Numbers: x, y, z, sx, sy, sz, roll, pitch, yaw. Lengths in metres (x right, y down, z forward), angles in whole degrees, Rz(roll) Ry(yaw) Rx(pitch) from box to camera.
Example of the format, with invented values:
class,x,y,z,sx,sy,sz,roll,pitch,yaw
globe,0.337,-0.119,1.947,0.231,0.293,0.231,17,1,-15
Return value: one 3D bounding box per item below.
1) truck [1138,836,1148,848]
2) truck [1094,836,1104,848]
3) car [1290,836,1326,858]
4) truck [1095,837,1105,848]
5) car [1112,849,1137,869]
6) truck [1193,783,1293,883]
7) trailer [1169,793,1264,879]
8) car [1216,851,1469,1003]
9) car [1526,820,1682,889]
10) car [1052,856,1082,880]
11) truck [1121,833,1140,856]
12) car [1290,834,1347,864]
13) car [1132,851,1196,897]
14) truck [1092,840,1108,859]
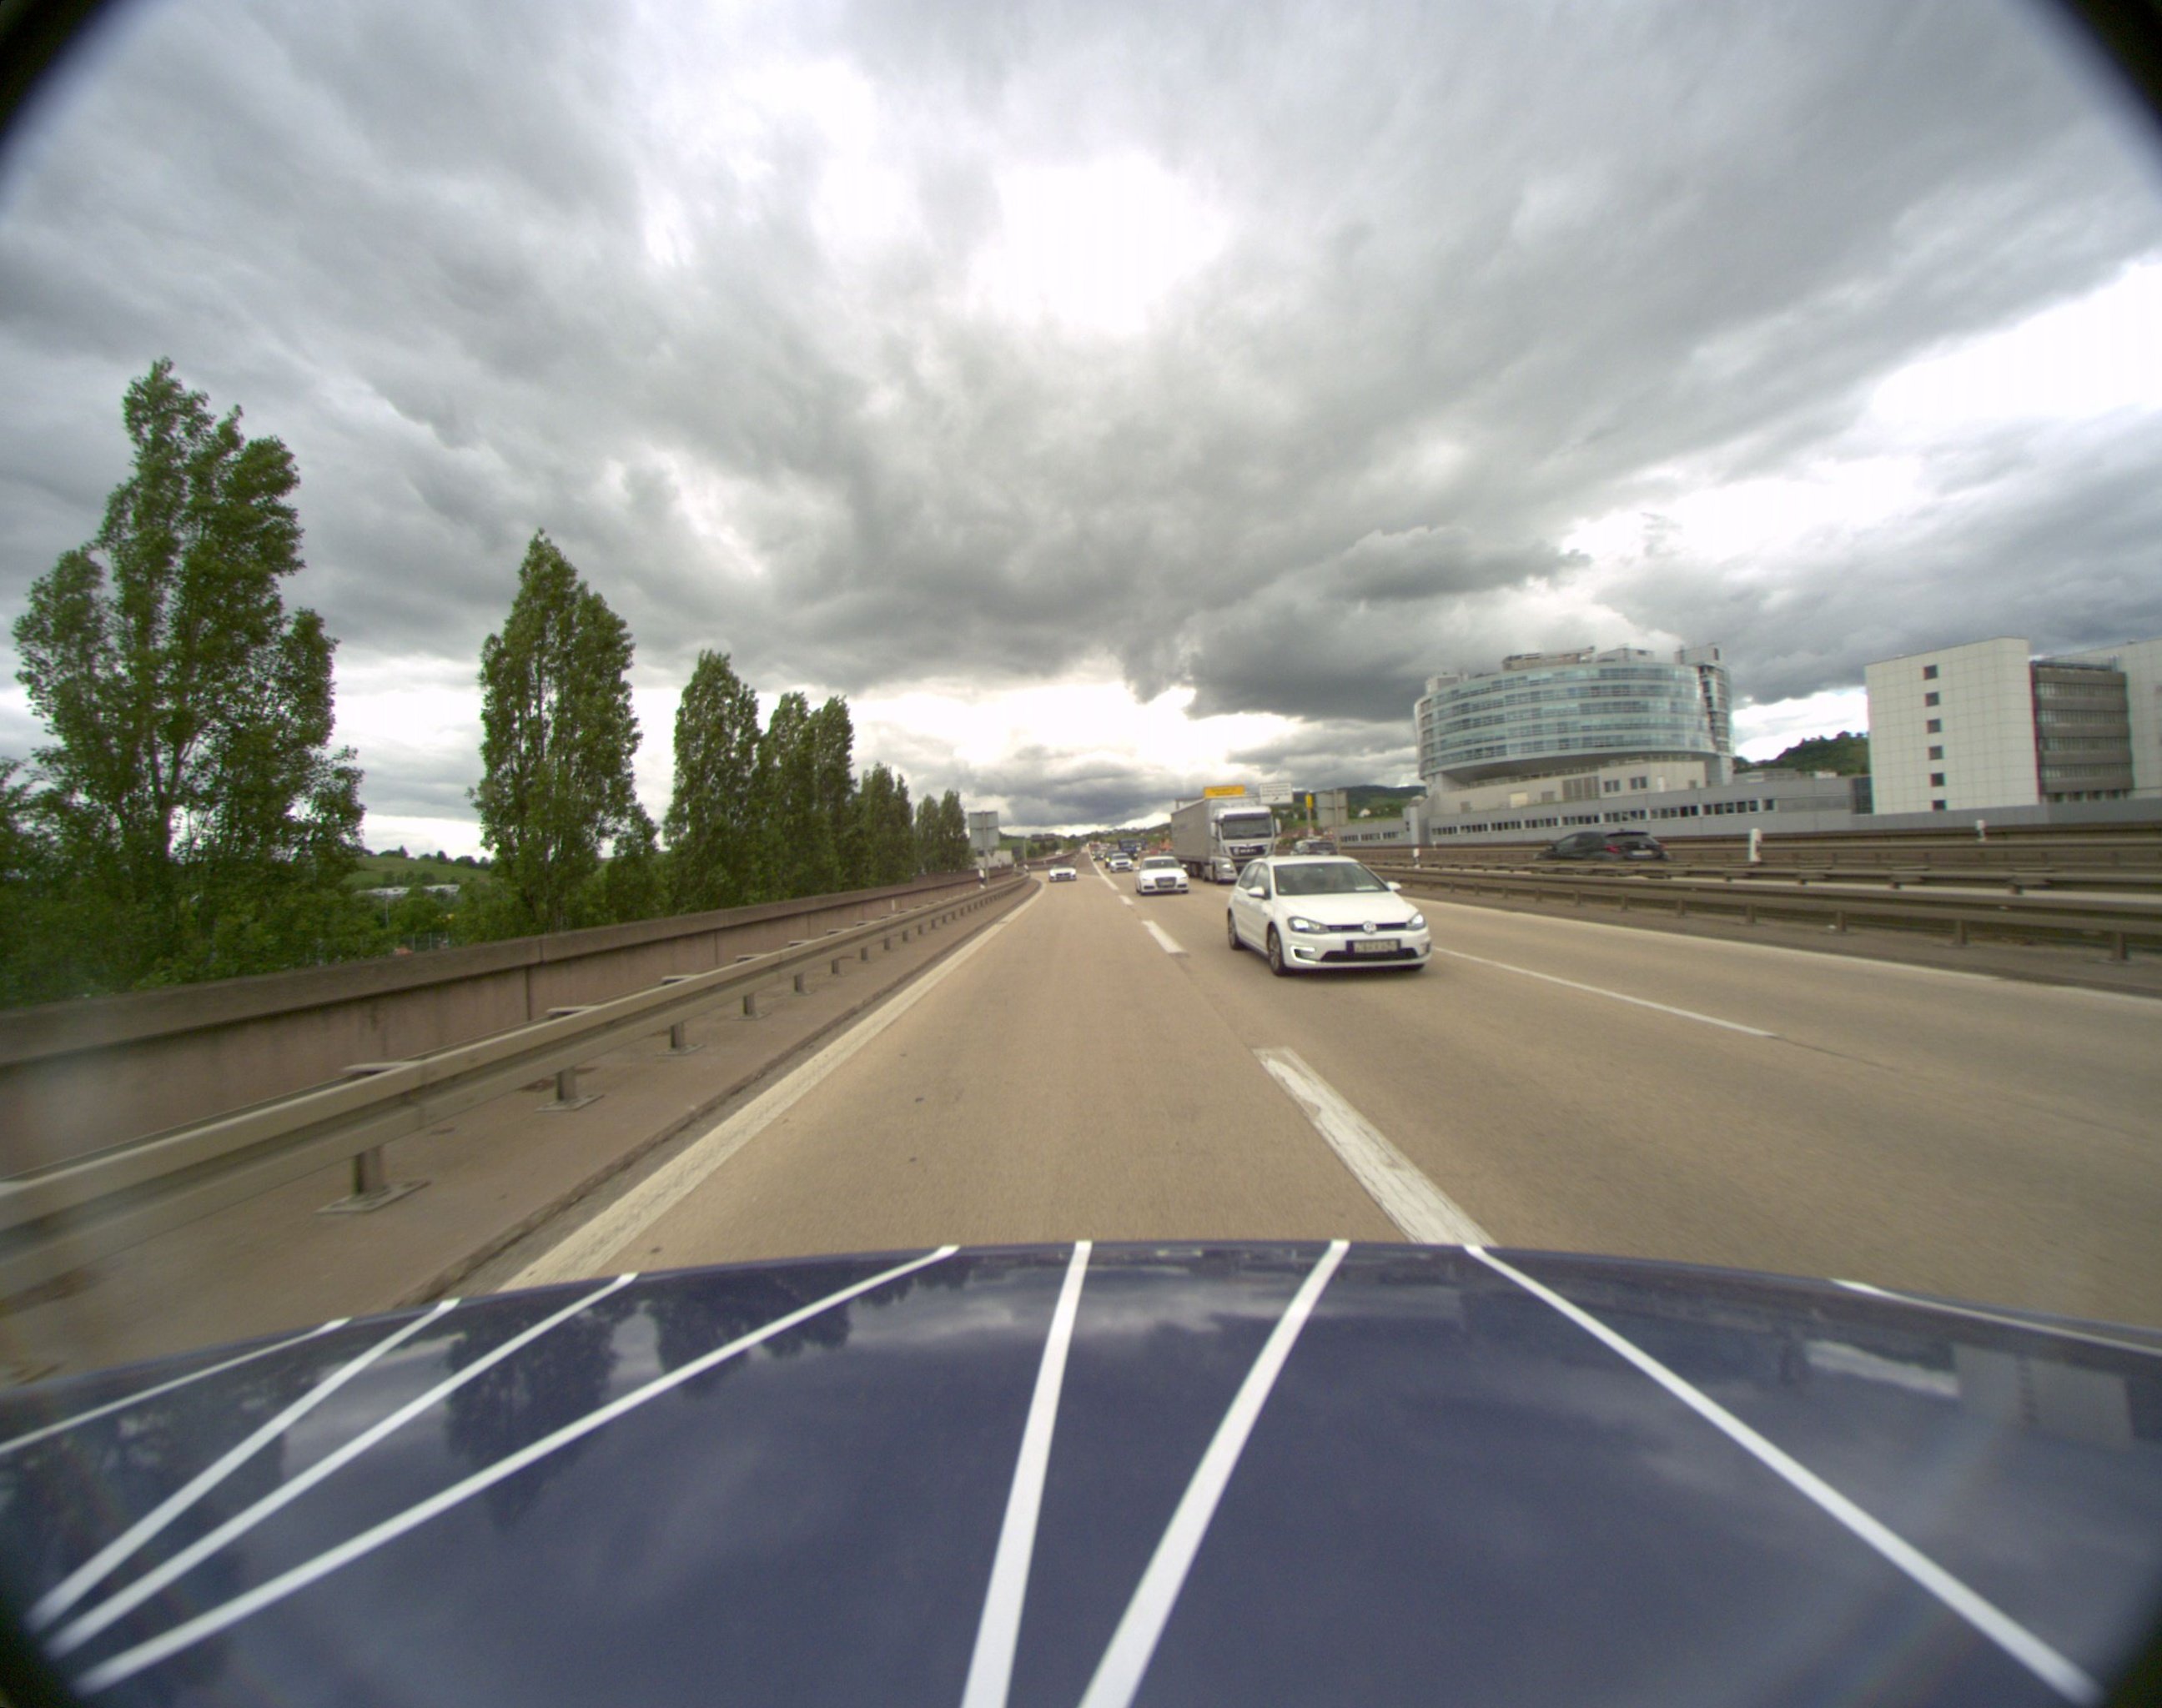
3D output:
class,x,y,z,sx,sy,sz,roll,pitch,yaw
truck,17.454,-3.410,213.696,2.335,3.219,6.690,-2,1,9
truck,5.038,-3.355,211.209,2.626,3.219,6.685,-2,1,0
car,18.409,-0.569,61.801,1.687,1.641,3.775,-3,1,0
truck,5.962,-3.647,238.616,2.626,3.219,6.685,-2,1,0
car,3.791,0.416,66.834,1.931,1.585,4.060,-3,1,0
truck,7.256,-0.890,34.895,3.142,4.014,5.687,-4,1,0
trailer,7.313,-0.905,43.059,3.189,4.003,11.764,-4,0,1
car,3.194,0.782,10.238,1.931,1.499,4.060,-3,1,0
car,14.457,-0.008,21.288,1.687,1.641,3.775,-4,1,0
car,-0.971,0.967,54.126,1.931,1.499,4.060,-3,1,0
truck,7.461,-1.455,115.627,2.337,3.219,6.685,-2,1,0
car,14.199,-0.323,45.710,1.931,1.585,4.607,-3,1,0
car,3.101,0.719,29.208,1.931,1.499,4.060,-3,1,0
truck,3.482,-0.828,137.944,2.626,3.219,6.685,-2,1,0
